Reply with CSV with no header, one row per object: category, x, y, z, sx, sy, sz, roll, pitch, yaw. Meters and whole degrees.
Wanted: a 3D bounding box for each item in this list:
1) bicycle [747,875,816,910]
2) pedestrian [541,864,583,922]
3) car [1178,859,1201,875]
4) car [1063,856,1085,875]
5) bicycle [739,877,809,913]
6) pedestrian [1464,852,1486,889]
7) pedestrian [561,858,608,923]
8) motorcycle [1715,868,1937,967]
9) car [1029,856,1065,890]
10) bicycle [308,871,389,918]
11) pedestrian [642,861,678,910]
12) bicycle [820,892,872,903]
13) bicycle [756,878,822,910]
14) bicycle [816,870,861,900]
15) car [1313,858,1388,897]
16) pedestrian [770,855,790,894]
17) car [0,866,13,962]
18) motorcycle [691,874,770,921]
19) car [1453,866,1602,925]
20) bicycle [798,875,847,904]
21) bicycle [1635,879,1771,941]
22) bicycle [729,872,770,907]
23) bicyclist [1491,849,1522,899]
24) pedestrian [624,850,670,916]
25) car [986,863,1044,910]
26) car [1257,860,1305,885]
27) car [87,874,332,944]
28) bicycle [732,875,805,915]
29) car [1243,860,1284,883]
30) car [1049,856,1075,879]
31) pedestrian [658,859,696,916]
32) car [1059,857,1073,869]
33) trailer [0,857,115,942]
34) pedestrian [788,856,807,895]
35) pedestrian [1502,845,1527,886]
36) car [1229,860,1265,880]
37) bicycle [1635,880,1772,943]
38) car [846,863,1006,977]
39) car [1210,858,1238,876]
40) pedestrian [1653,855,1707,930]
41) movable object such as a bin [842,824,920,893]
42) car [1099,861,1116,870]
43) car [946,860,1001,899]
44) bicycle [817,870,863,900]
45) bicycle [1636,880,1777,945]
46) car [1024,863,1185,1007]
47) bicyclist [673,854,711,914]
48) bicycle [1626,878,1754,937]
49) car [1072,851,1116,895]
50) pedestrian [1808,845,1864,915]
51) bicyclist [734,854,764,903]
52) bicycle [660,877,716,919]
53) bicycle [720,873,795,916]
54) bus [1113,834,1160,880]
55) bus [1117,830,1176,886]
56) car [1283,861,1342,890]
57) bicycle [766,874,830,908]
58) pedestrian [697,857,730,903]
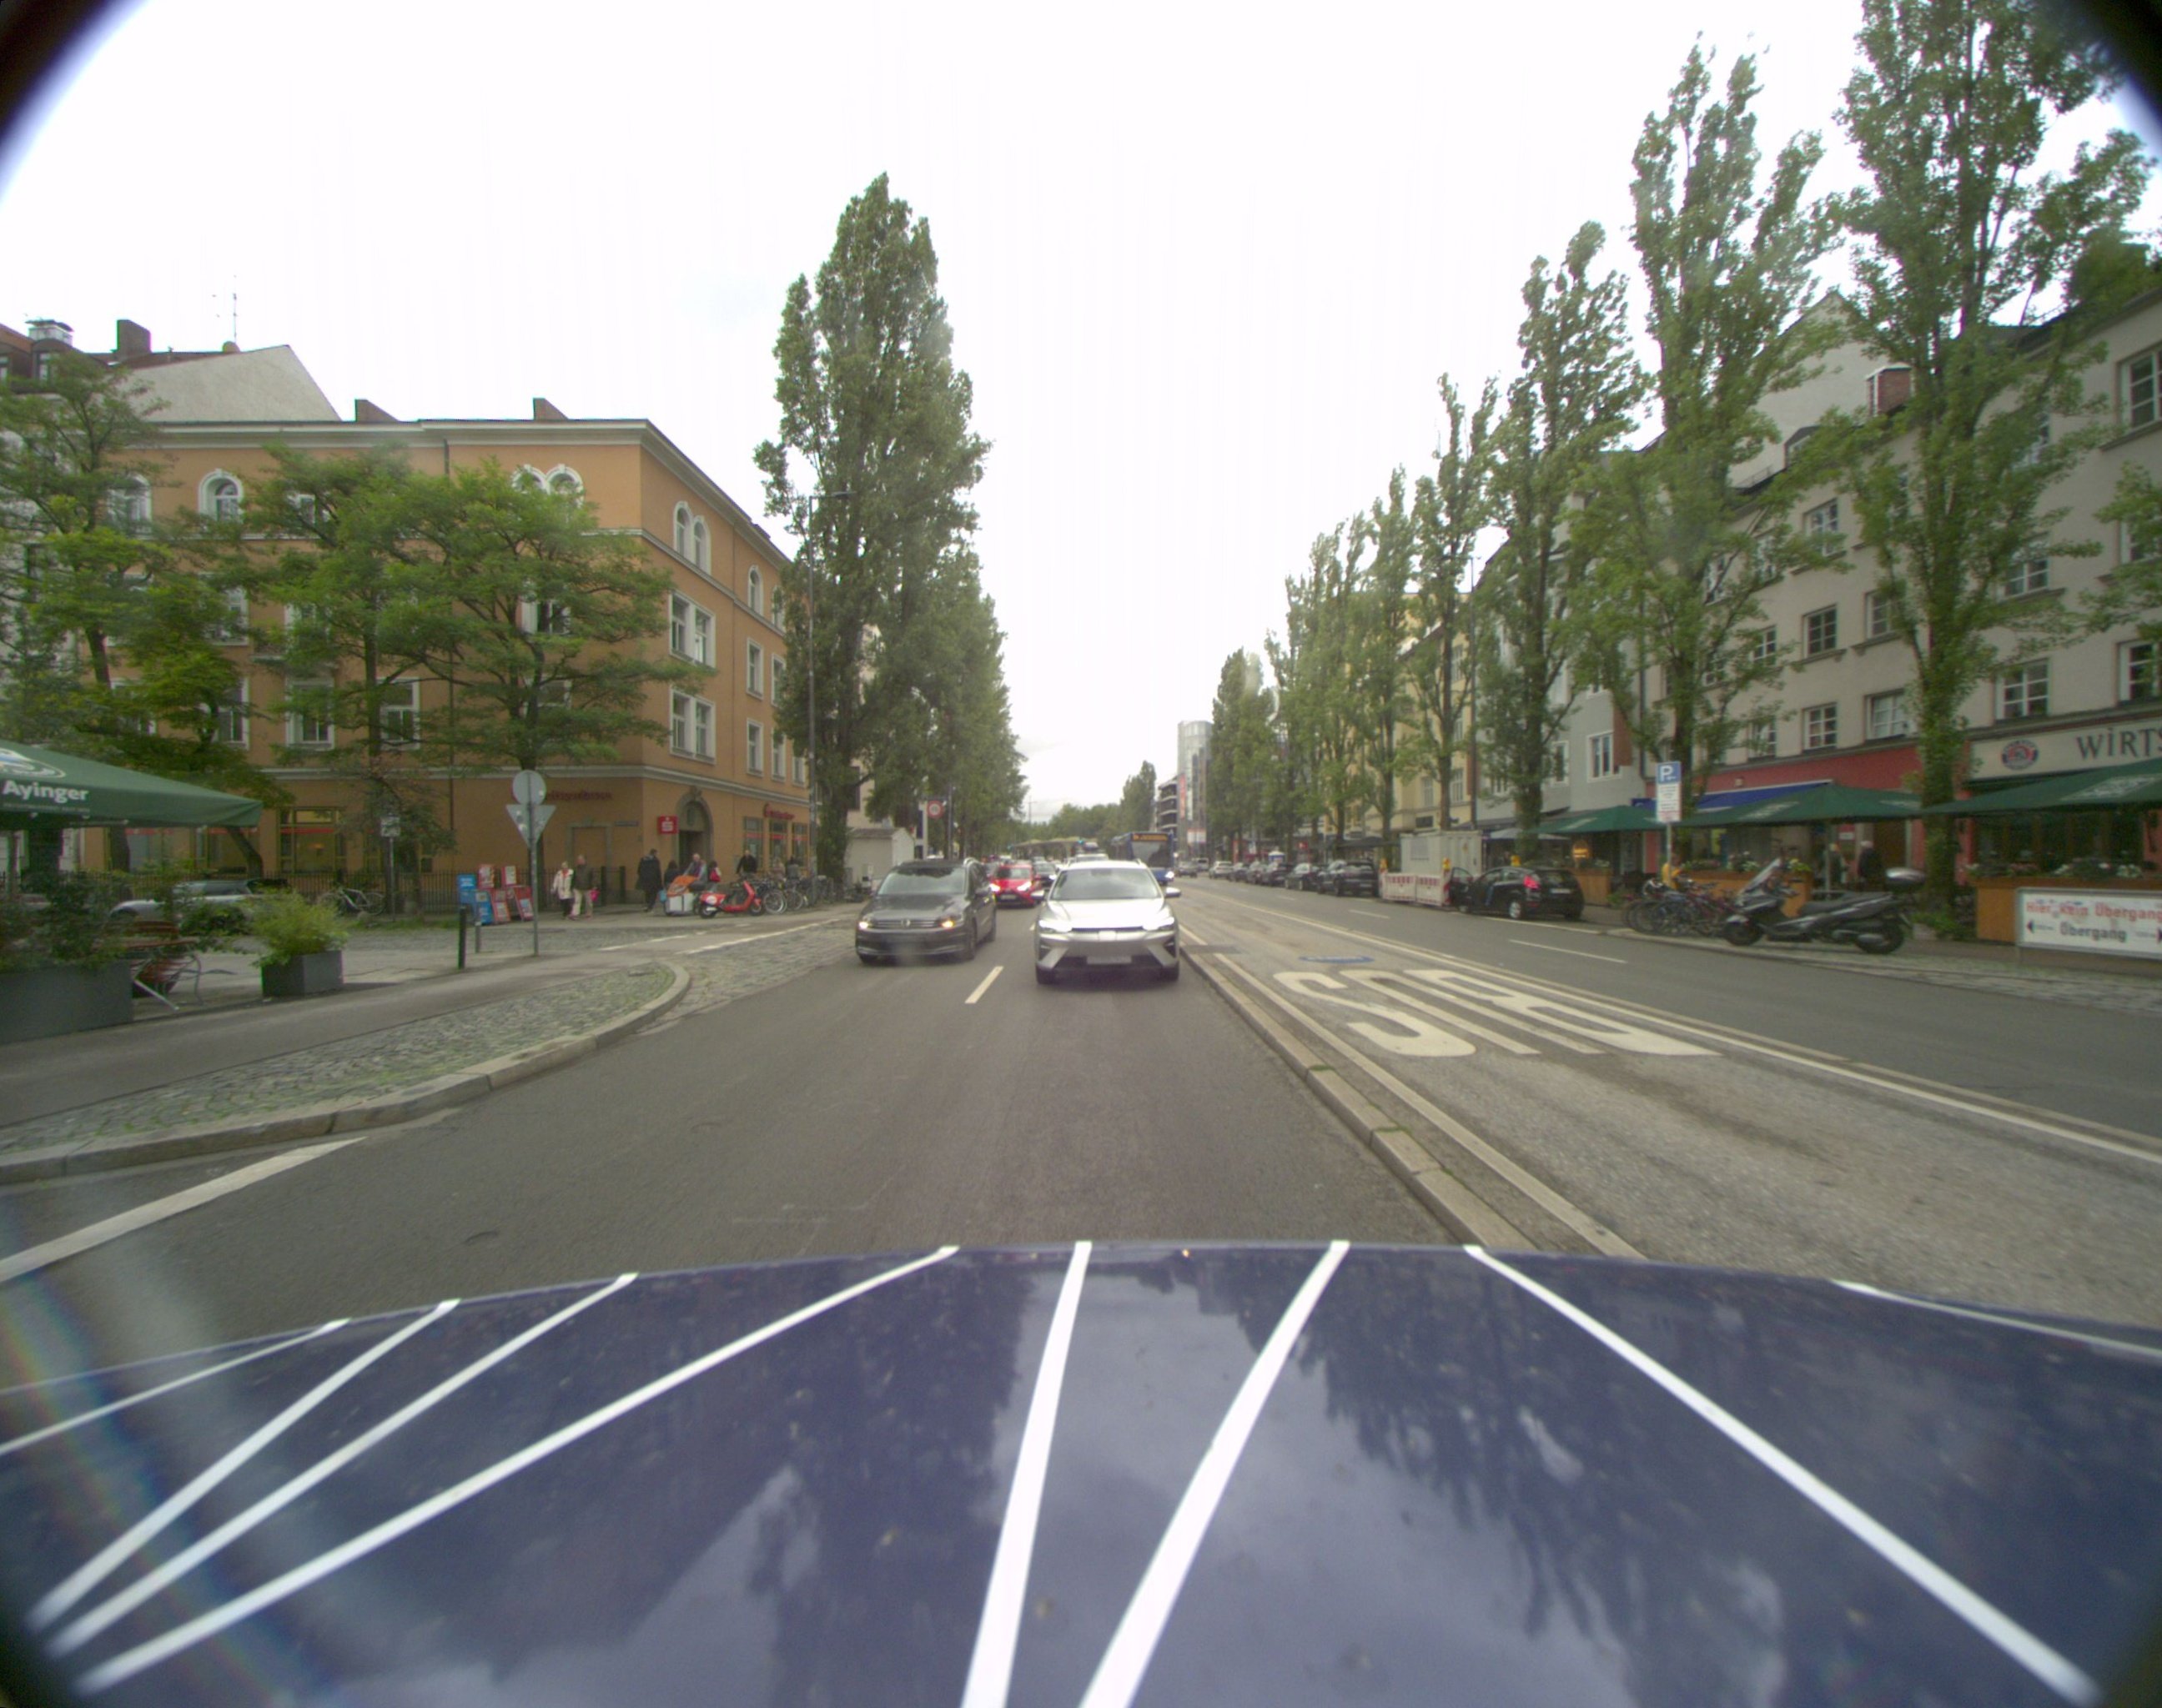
bicycle,-9.542,1.221,24.232,1.945,1.069,0.561,-1,0,1
pedestrian,-14.488,1.090,21.233,0.699,1.562,0.575,-2,1,3
car,10.586,1.227,74.337,1.718,1.532,4.077,1,0,1
car,-0.657,1.061,71.484,1.707,1.683,4.002,-2,0,-5
bicycle,-9.481,1.261,23.489,1.945,1.082,0.561,-1,0,1
pedestrian,20.508,0.848,39.597,0.699,1.915,0.905,0,0,4
pedestrian,-13.709,0.992,20.999,0.699,1.756,0.732,-2,1,3
motorcycle,11.885,0.945,12.249,0.747,1.406,2.448,0,0,-33
car,-1.878,0.994,40.911,1.707,1.683,4.001,-2,0,-5
bicycle,-22.559,1.243,23.427,1.945,1.364,0.561,-2,0,1
pedestrian,-13.942,1.024,25.188,0.745,1.562,0.664,-2,1,3
bicycle,-8.583,1.588,27.813,1.677,0.371,0.830,1,0,-7
bicycle,-9.528,1.290,24.837,1.945,1.004,0.561,-1,0,1
bicycle,-9.221,1.164,28.892,1.610,1.078,0.321,-1,0,-22
car,12.062,0.997,34.331,1.802,1.603,4.574,0,0,1
pedestrian,-13.207,0.882,33.354,0.634,1.684,0.574,-2,1,-6
car,-21.488,1.157,12.823,4.425,1.692,1.972,-2,1,5
motorcycle,-9.775,1.203,21.232,1.963,1.214,0.514,-1,0,-25
car,12.146,1.072,20.978,1.760,1.414,3.784,1,0,-2
bicycle,-9.183,1.261,26.981,1.602,1.004,0.342,-1,0,-6
bicycle,11.888,1.054,14.591,1.976,1.119,0.283,-2,1,37
bicycle,-11.552,1.228,26.524,0.737,1.113,2.100,-1,0,-7
bicyclist,14.488,0.674,25.909,0.606,1.695,0.816,-1,1,2
pedestrian,-13.060,0.864,22.902,0.840,1.937,0.801,-2,1,-2
car,-2.223,1.080,26.552,1.616,1.425,4.003,-2,0,0
car,12.275,1.119,46.878,1.802,1.431,4.574,0,0,1
car,-22.329,1.369,19.603,3.997,1.511,1.906,-2,1,-1
bicycle,-9.388,1.229,22.838,1.945,1.130,0.561,-1,0,1
car,12.482,1.165,52.225,1.802,1.495,4.574,0,0,1
car,-1.480,1.023,58.477,1.707,1.683,4.002,-2,0,-5
pedestrian,-12.328,1.010,23.220,0.746,1.651,0.770,-2,1,-10
car,-1.979,1.186,102.458,1.789,1.604,4.499,-2,0,0
trailer,-28.130,1.152,19.056,5.252,2.016,1.906,-1,0,-1
pedestrian,-12.555,0.927,33.622,0.619,1.684,0.574,-2,1,-8
pedestrian,20.634,0.560,36.167,0.699,1.915,0.905,0,0,4
car,12.574,1.221,57.829,1.802,1.431,4.574,0,0,1
bicycle,11.714,1.062,14.366,1.976,1.119,0.283,-2,1,37
car,-2.497,1.000,13.296,1.882,1.582,4.192,-2,0,0
car,12.815,1.135,68.344,1.802,1.568,4.105,0,0,1
pedestrian,14.116,0.889,17.919,0.699,1.716,0.732,0,0,-2
movable object such as a bin,-9.521,0.210,36.636,2.445,3.118,4.544,1,0,1
car,4.024,1.718,116.258,1.783,1.391,4.359,0,0,-10
car,-4.689,1.071,33.750,1.789,1.544,4.499,-2,0,0
bicycle,-9.065,1.170,28.561,1.604,1.078,0.341,-1,0,-22
bicycle,11.524,1.065,14.082,1.976,1.119,0.361,-2,1,37
car,0.267,0.934,10.529,1.742,1.509,4.033,-2,0,0
bicyclist,-11.564,0.887,22.612,0.831,1.747,0.666,-1,0,-11
bicycle,12.197,1.050,15.281,1.976,1.119,0.343,-2,1,37
car,0.557,0.831,35.534,1.839,1.831,5.129,-2,1,0
pedestrian,21.196,0.721,21.353,0.699,1.915,0.905,0,0,4
bicyclist,-11.536,0.835,26.421,0.741,1.677,0.748,-1,0,-7
bicycle,-11.516,1.267,22.359,0.887,1.113,2.100,-1,0,-11
bicycle,-9.427,1.176,22.195,1.945,1.232,0.561,-1,0,1
bus,3.829,0.216,54.213,2.690,2.932,10.052,0,0,0
bus,3.734,0.214,45.514,2.696,2.932,10.052,0,0,0
car,12.209,1.092,40.296,1.802,1.431,4.574,0,0,1
bicycle,-9.518,1.241,25.585,1.945,1.078,0.561,-1,0,1
pedestrian,-12.790,0.908,26.456,0.745,1.562,0.614,-2,1,3
